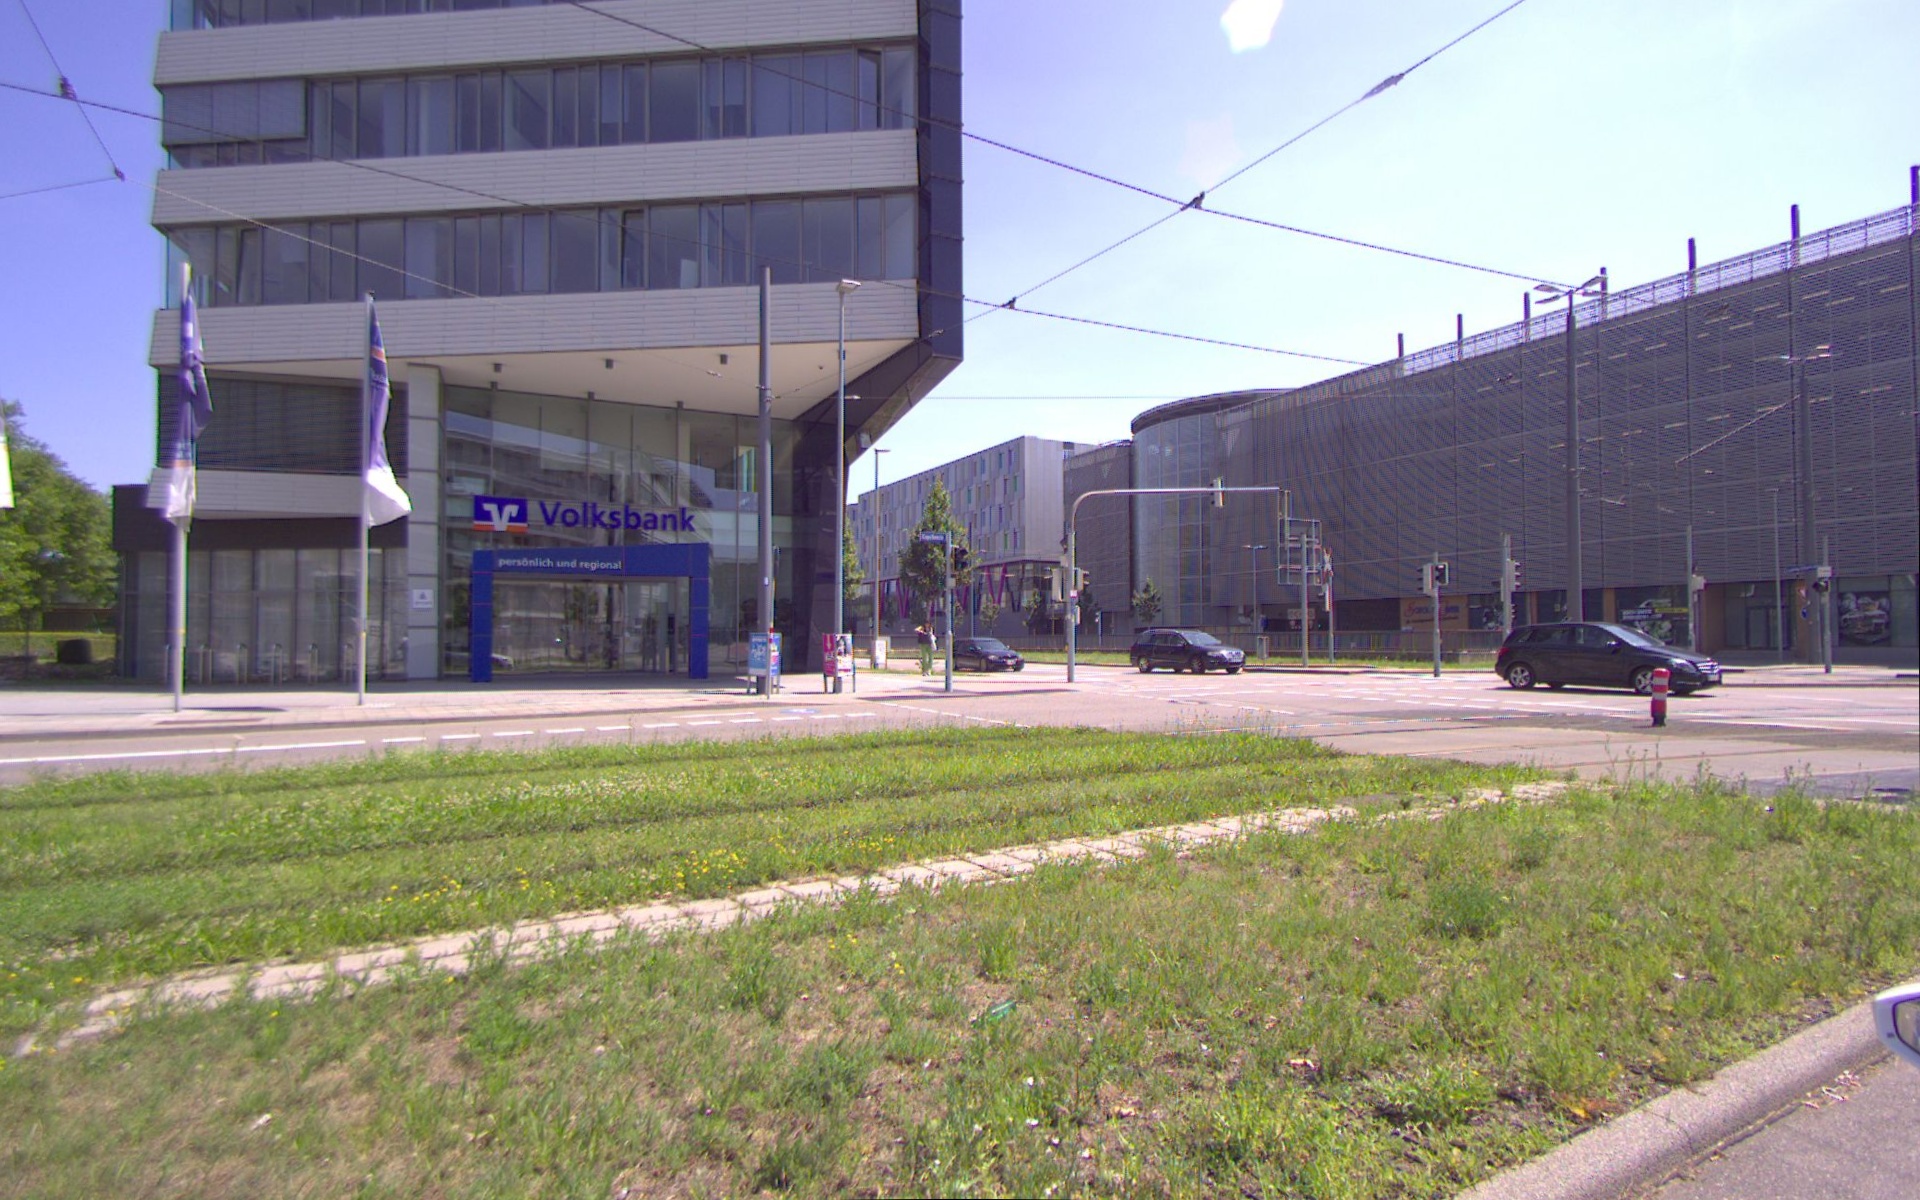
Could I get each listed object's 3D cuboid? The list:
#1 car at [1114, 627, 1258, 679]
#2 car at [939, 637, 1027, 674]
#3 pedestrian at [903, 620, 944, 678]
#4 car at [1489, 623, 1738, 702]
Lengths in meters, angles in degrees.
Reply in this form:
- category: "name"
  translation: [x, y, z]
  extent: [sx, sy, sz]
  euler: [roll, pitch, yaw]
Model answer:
- category: "car"
  translation: [7.648, 1.741, 34.455]
  extent: [1.979, 1.601, 4.825]
  euler: [0, -1, -34]
- category: "car"
  translation: [0.907, 2.268, 41.812]
  extent: [1.617, 1.360, 4.282]
  euler: [0, -1, -31]
- category: "pedestrian"
  translation: [-1.141, 1.523, 31.539]
  extent: [0.889, 1.770, 0.975]
  euler: [-1, -1, 31]
- category: "car"
  translation: [14.565, 1.306, 22.641]
  extent: [1.978, 1.574, 4.295]
  euler: [0, -1, -32]
